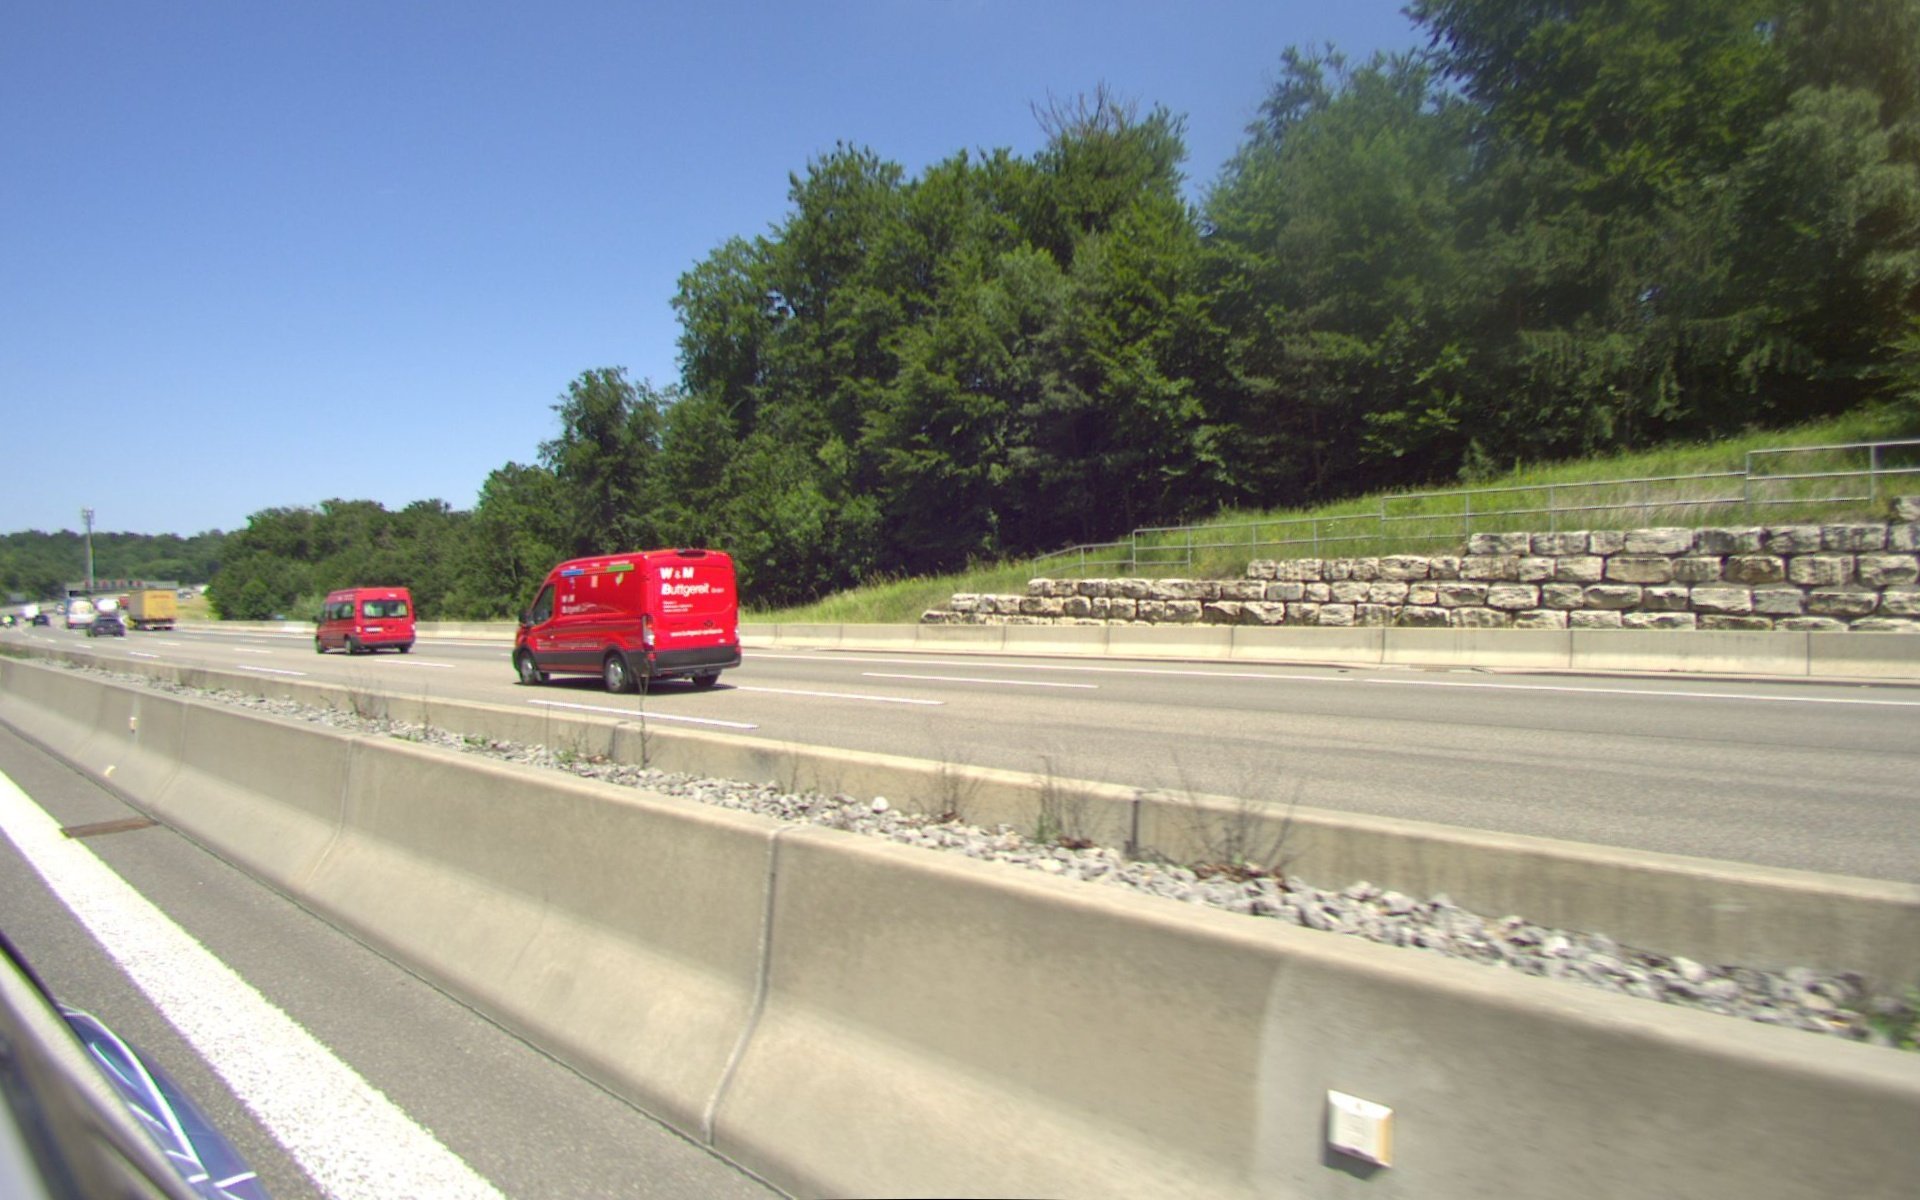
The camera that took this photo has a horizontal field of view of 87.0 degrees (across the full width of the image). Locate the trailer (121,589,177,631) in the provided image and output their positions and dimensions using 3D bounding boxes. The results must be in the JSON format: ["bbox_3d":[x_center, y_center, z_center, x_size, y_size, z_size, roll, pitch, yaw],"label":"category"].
[{"bbox_3d":[-81.999,1.044,102.177,13.728,4.035,2.692,-1,-1,44],"label":"trailer"}]

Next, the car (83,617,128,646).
[{"bbox_3d":[-63.280,2.282,74.935,5.253,1.885,1.972,0,2,44],"label":"car"}]

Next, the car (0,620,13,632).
[{"bbox_3d":[-134.567,3.657,142.256,1.970,1.718,4.956,0,-1,-44],"label":"car"}]

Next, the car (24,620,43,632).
[{"bbox_3d":[-126.410,3.515,138.084,1.700,1.656,4.062,0,-1,-45],"label":"car"}]

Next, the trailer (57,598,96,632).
[{"bbox_3d":[-105.693,1.761,120.946,11.697,3.910,2.510,-1,-1,44],"label":"trailer"}]

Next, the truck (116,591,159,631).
[{"bbox_3d":[-86.764,1.184,106.779,6.753,4.048,2.720,-1,-1,44],"label":"truck"}]

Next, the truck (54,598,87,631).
[{"bbox_3d":[-109.767,1.816,124.875,6.803,3.970,2.503,-1,-1,44],"label":"truck"}]

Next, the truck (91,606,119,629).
[{"bbox_3d":[-135.975,2.712,160.844,2.580,3.491,9.888,-2,1,-44],"label":"truck"}]

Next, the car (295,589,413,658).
[{"bbox_3d":[-21.928,0.839,36.506,5.800,2.304,1.973,-2,0,42],"label":"car"}]

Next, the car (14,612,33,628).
[{"bbox_3d":[-170.019,3.599,183.684,6.310,2.709,2.074,-2,0,44],"label":"car"}]

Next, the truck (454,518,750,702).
[{"bbox_3d":[-7.108,0.177,19.496,7.008,2.999,2.089,-1,0,40],"label":"truck"}]
